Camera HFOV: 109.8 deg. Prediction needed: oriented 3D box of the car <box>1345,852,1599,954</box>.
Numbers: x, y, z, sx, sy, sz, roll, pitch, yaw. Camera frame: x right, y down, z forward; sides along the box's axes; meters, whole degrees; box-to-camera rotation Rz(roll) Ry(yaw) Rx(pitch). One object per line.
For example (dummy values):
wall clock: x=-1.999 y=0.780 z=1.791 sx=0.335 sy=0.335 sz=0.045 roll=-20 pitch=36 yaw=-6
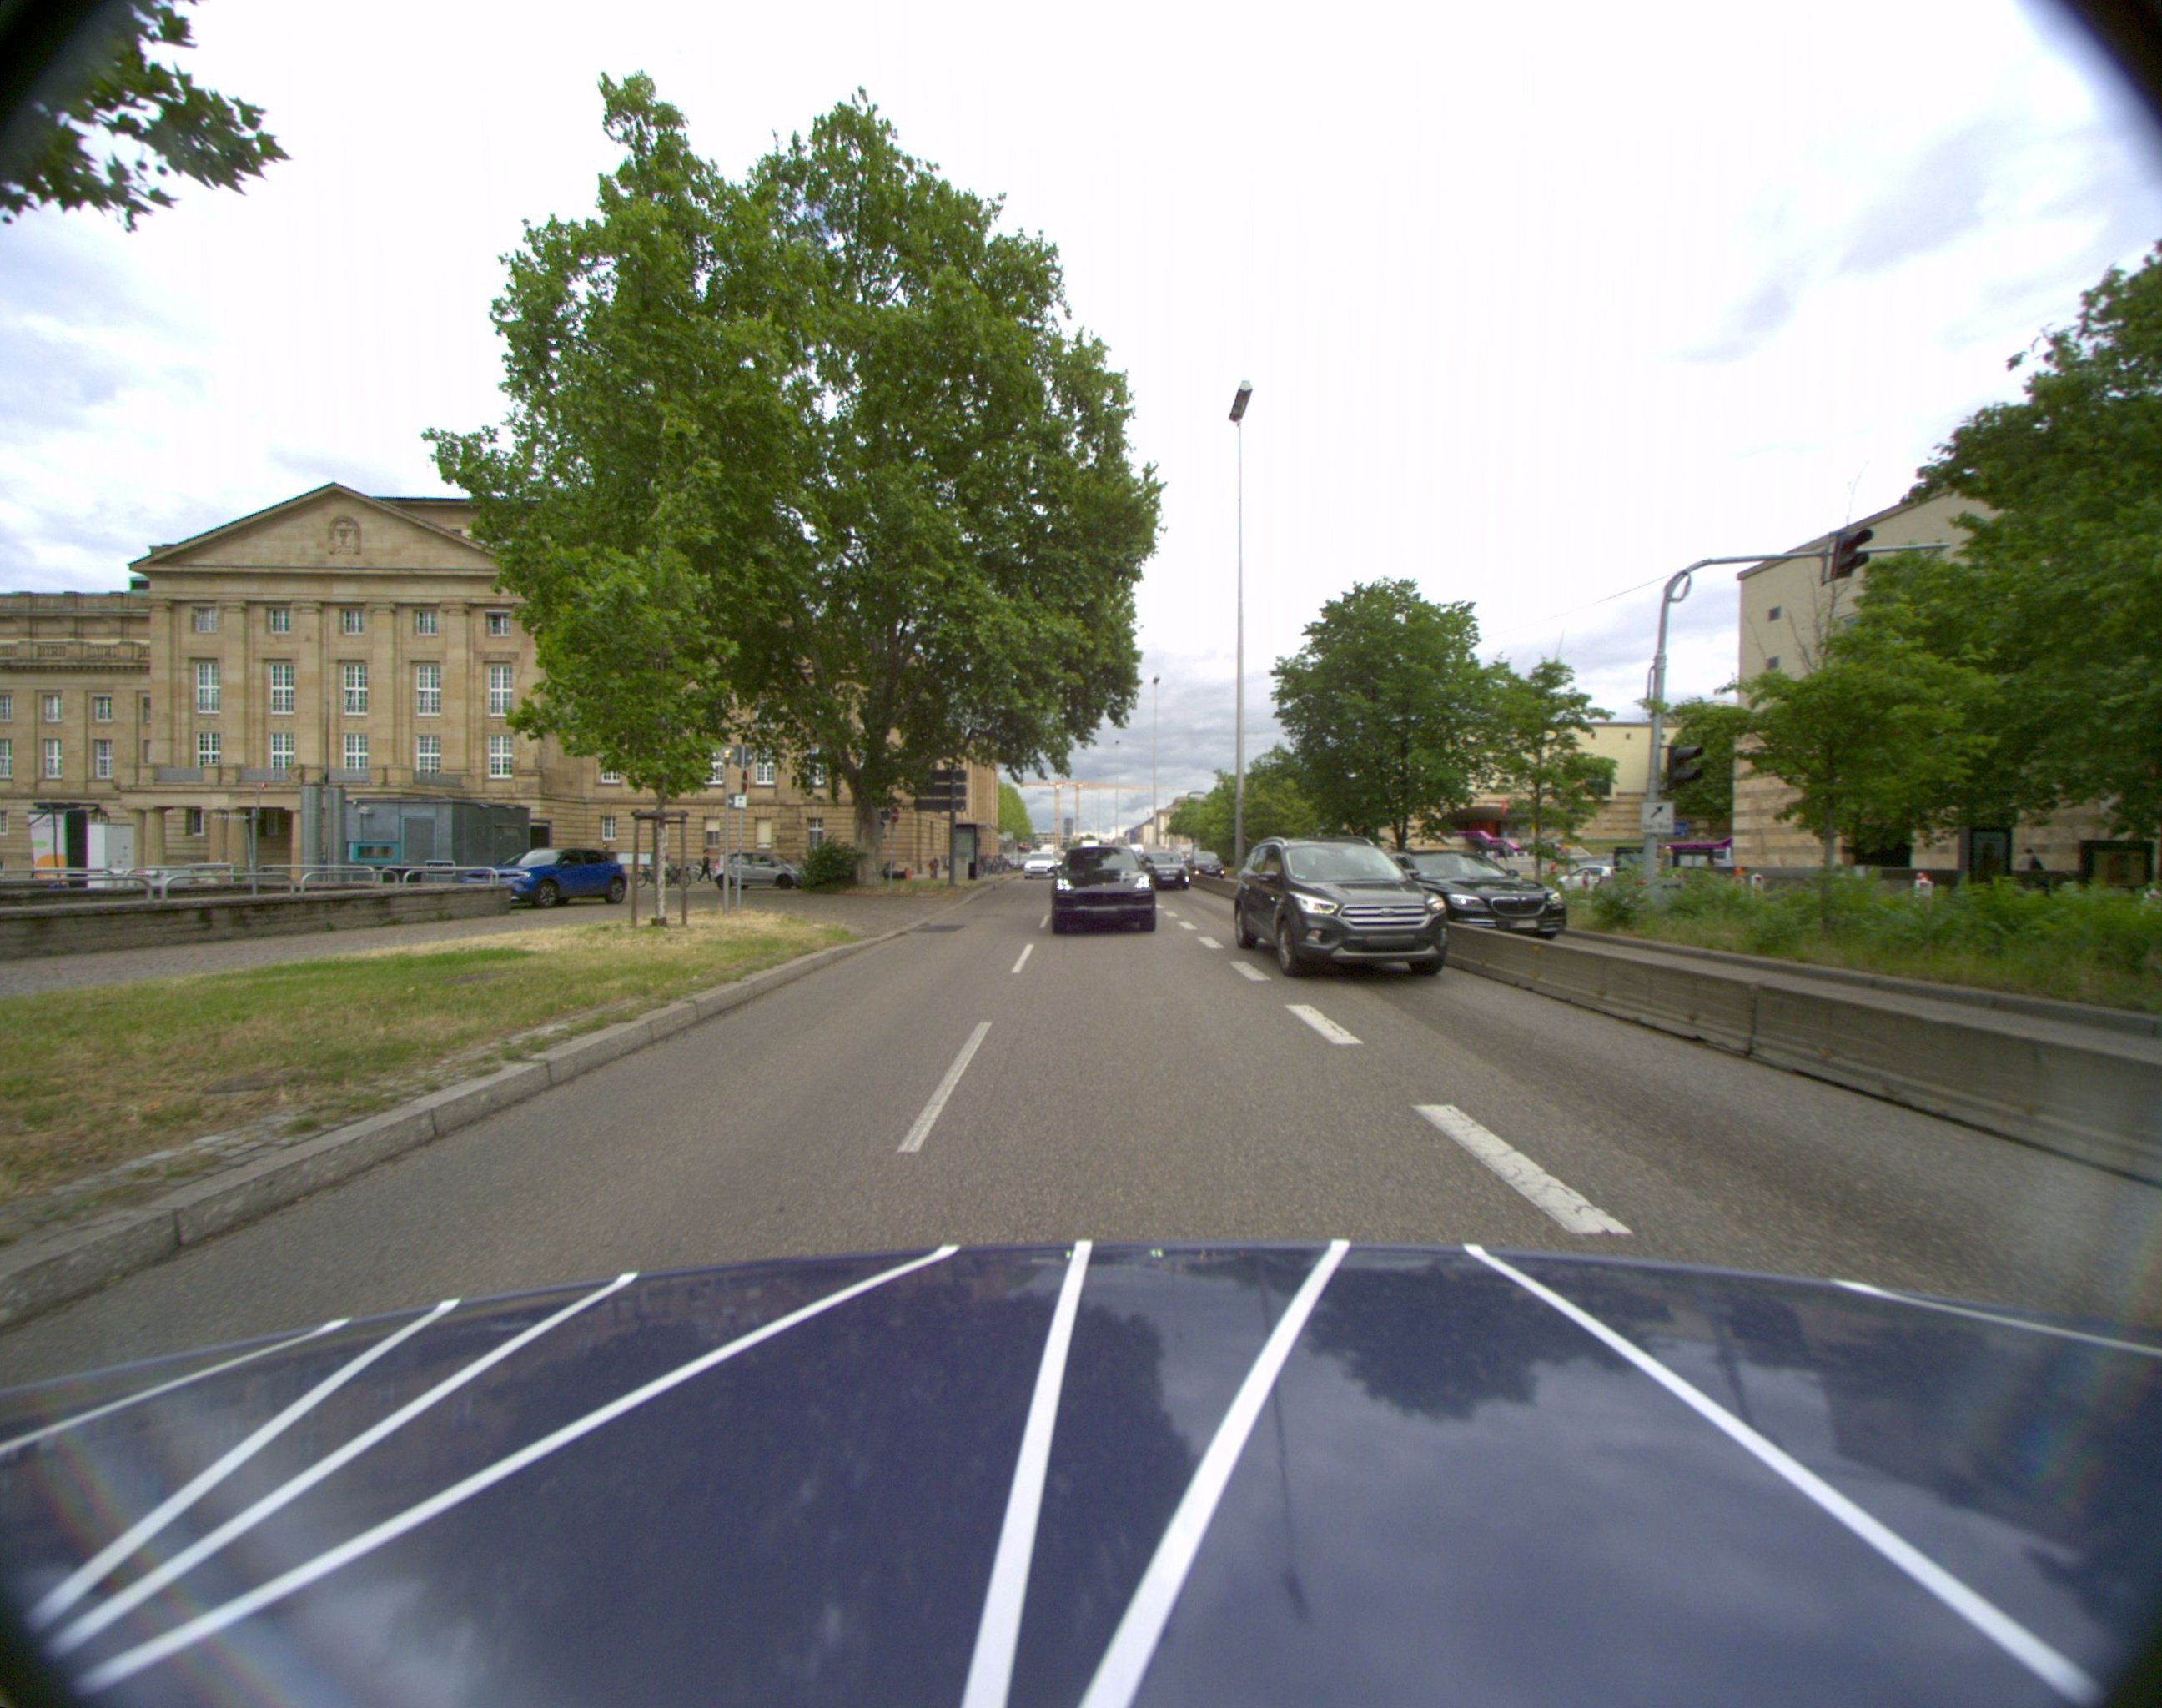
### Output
car: x=6.473 y=0.699 z=13.367 sx=1.998 sy=1.474 sz=4.809 roll=0 pitch=0 yaw=0

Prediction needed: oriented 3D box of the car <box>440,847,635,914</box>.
car: x=-13.551 y=0.635 z=19.327 sx=1.768 sy=1.508 sz=4.219 roll=0 pitch=-1 yaw=3

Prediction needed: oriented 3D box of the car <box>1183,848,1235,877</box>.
car: x=6.836 y=0.411 z=41.031 sx=1.998 sy=1.474 sz=4.809 roll=0 pitch=0 yaw=0

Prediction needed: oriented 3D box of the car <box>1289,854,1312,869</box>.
car: x=24.141 y=0.840 z=83.605 sx=1.582 sy=1.600 sz=3.578 roll=0 pitch=0 yaw=1

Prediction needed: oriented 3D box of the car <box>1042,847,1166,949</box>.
car: x=0.320 y=0.730 z=15.298 sx=2.062 sy=1.616 sz=4.599 roll=-3 pitch=1 yaw=-2

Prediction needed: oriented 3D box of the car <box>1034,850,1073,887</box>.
car: x=-1.224 y=0.613 z=34.694 sx=1.582 sy=1.600 sz=3.578 roll=0 pitch=0 yaw=1

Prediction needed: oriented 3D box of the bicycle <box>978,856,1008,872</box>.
bicycle: x=-5.875 y=0.663 z=50.770 sx=1.918 sy=1.092 sz=0.541 roll=0 pitch=1 yaw=-7

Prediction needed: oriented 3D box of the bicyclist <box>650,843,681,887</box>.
bicyclist: x=-19.203 y=0.515 z=35.144 sx=1.013 sy=2.002 sz=1.102 roll=-1 pitch=0 yaw=-16

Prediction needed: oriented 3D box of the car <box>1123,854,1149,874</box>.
car: x=4.771 y=0.825 z=66.722 sx=1.998 sy=1.607 sz=4.737 roll=0 pitch=1 yaw=1

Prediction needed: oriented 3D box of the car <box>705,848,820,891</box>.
car: x=-13.272 y=0.625 z=31.841 sx=3.997 sy=1.587 sz=1.734 roll=-2 pitch=1 yaw=0

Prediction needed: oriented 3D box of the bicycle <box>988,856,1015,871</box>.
bicycle: x=-5.457 y=0.657 z=52.359 sx=1.841 sy=1.066 sz=0.532 roll=0 pitch=1 yaw=-8

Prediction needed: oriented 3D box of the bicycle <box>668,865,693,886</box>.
bicycle: x=-19.979 y=1.042 z=37.950 sx=0.918 sy=0.926 sz=2.674 roll=-3 pitch=1 yaw=-24

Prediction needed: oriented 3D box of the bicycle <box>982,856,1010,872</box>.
bicycle: x=-5.751 y=0.682 z=51.442 sx=1.841 sy=1.066 sz=0.618 roll=0 pitch=1 yaw=-7

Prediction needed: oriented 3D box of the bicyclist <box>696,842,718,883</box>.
bicyclist: x=-18.698 y=0.419 z=38.019 sx=0.879 sy=2.002 sz=0.842 roll=-3 pitch=2 yaw=-25

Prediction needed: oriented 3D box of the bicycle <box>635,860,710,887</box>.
bicycle: x=-18.897 y=0.908 z=35.245 sx=2.846 sy=1.178 sz=1.096 roll=0 pitch=1 yaw=-16

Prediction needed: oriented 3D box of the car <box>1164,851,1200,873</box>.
car: x=7.234 y=0.530 z=55.010 sx=1.998 sy=1.474 sz=4.809 roll=0 pitch=0 yaw=0

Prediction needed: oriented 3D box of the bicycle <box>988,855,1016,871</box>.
bicycle: x=-5.534 y=0.640 z=53.294 sx=1.842 sy=1.066 sz=0.531 roll=0 pitch=1 yaw=-19

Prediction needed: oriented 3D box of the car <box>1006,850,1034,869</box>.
car: x=-5.170 y=0.409 z=64.517 sx=1.843 sy=1.522 sz=4.000 roll=0 pitch=1 yaw=3

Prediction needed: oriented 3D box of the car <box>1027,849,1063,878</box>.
car: x=-2.117 y=0.548 z=45.710 sx=1.695 sy=1.585 sz=4.000 roll=1 pitch=1 yaw=3

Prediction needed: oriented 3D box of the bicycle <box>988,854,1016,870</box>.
bicycle: x=-5.711 y=0.556 z=54.901 sx=1.939 sy=1.126 sz=0.540 roll=0 pitch=1 yaw=-19

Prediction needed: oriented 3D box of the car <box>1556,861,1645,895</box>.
car: x=22.927 y=1.024 z=33.679 sx=1.355 sy=1.281 sz=3.736 roll=-2 pitch=1 yaw=0

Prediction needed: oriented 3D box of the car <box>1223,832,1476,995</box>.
car: x=3.286 y=0.636 z=10.394 sx=1.898 sy=1.705 sz=4.658 roll=-1 pitch=0 yaw=2

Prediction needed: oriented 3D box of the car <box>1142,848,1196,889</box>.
car: x=3.527 y=0.543 z=31.116 sx=1.767 sy=1.507 sz=4.151 roll=-1 pitch=1 yaw=0
